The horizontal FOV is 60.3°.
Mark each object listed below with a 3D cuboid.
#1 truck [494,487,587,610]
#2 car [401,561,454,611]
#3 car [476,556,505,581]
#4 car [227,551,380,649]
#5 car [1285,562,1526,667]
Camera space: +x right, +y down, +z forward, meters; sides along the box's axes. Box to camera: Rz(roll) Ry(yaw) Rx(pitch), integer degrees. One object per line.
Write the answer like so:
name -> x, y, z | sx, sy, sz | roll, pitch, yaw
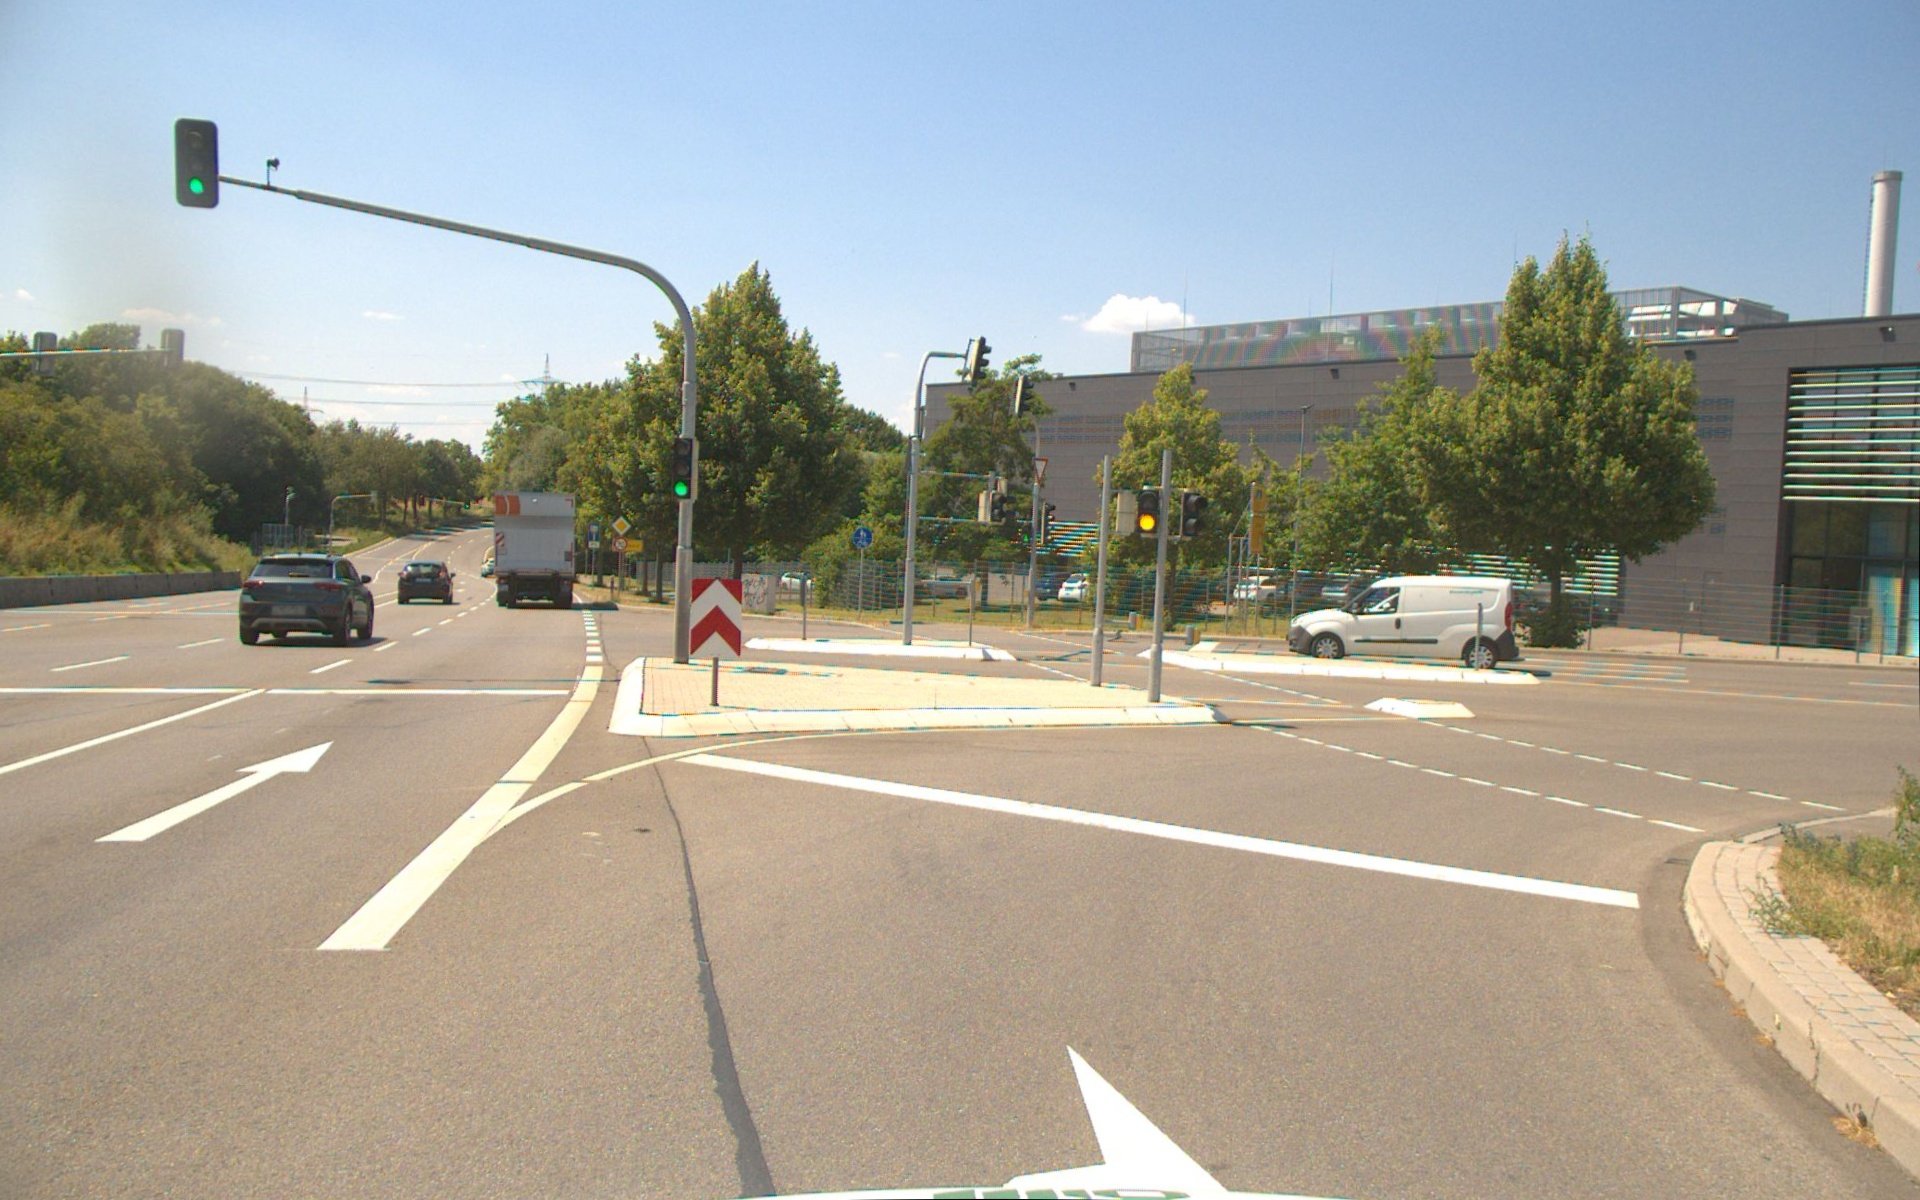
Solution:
truck -> -14.323, -1.771, 56.560 | 2.756, 3.775, 9.076 | 1, 2, -14
car -> -18.390, -0.519, 57.200 | 1.627, 1.519, 4.188 | 1, 2, -17
car -> -37.151, -2.513, 130.883 | 1.915, 1.693, 3.979 | 4, 1, -19
car -> -11.675, -0.039, 29.685 | 1.802, 1.614, 4.378 | 1, 1, -12
car -> 9.223, 0.265, 34.276 | 4.646, 1.965, 2.155 | 2, 1, 18
